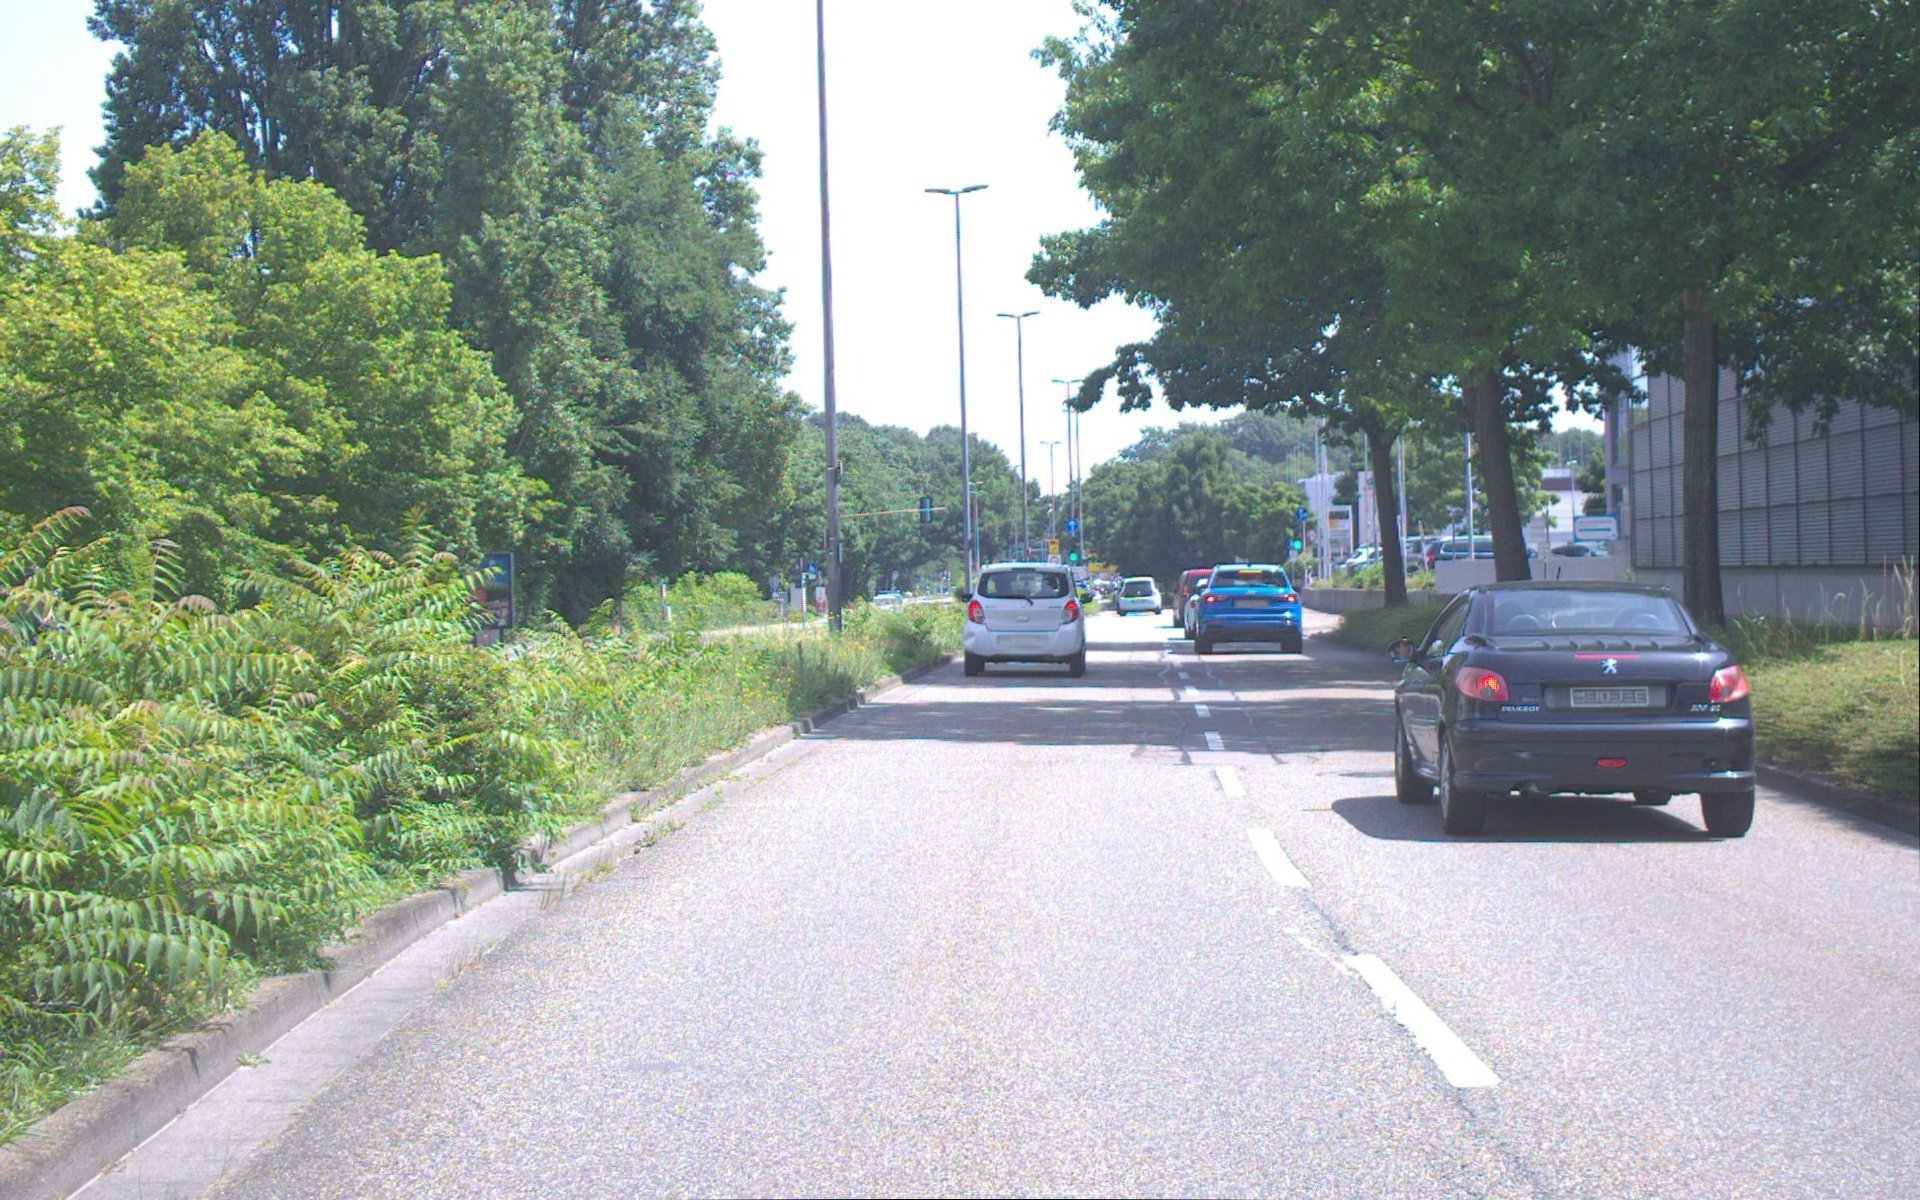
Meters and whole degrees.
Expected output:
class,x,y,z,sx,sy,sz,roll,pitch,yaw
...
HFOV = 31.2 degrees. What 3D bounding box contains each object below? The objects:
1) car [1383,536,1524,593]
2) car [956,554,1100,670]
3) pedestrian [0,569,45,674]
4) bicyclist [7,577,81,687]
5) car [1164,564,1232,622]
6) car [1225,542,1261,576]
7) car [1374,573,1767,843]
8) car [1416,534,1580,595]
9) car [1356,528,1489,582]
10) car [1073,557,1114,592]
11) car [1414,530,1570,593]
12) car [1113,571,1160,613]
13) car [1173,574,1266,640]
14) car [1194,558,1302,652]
class,x,y,z,sx,sy,sz,roll,pitch,yaw
car,15.710,-1.114,109.595,4.227,1.642,2.000,-2,0,3
car,0.972,0.136,47.252,1.748,1.515,3.745,0,1,4
pedestrian,-14.126,0.323,51.381,0.633,1.539,0.727,-2,0,3
bicyclist,-12.913,0.449,48.486,0.717,1.511,1.027,-2,0,-1
car,7.369,-0.206,106.563,1.776,1.734,4.000,-2,0,0
car,17.362,-2.527,211.197,1.770,2.007,3.991,-2,1,0
car,3.365,0.543,19.544,1.627,1.359,3.605,0,1,1
car,15.714,-1.038,100.602,4.499,1.577,2.000,-2,0,3
car,15.574,-1.509,115.958,4.227,1.642,2.000,-2,0,3
car,6.698,-1.283,172.716,1.819,1.656,4.000,-2,1,-1
car,14.842,-1.079,96.067,3.987,1.613,2.000,-2,0,0
car,7.272,-0.328,141.906,1.819,1.656,4.000,-2,1,2
car,6.026,0.149,80.058,1.994,1.437,4.000,-2,0,3
car,5.181,0.080,61.548,1.828,1.575,3.604,-2,0,6
